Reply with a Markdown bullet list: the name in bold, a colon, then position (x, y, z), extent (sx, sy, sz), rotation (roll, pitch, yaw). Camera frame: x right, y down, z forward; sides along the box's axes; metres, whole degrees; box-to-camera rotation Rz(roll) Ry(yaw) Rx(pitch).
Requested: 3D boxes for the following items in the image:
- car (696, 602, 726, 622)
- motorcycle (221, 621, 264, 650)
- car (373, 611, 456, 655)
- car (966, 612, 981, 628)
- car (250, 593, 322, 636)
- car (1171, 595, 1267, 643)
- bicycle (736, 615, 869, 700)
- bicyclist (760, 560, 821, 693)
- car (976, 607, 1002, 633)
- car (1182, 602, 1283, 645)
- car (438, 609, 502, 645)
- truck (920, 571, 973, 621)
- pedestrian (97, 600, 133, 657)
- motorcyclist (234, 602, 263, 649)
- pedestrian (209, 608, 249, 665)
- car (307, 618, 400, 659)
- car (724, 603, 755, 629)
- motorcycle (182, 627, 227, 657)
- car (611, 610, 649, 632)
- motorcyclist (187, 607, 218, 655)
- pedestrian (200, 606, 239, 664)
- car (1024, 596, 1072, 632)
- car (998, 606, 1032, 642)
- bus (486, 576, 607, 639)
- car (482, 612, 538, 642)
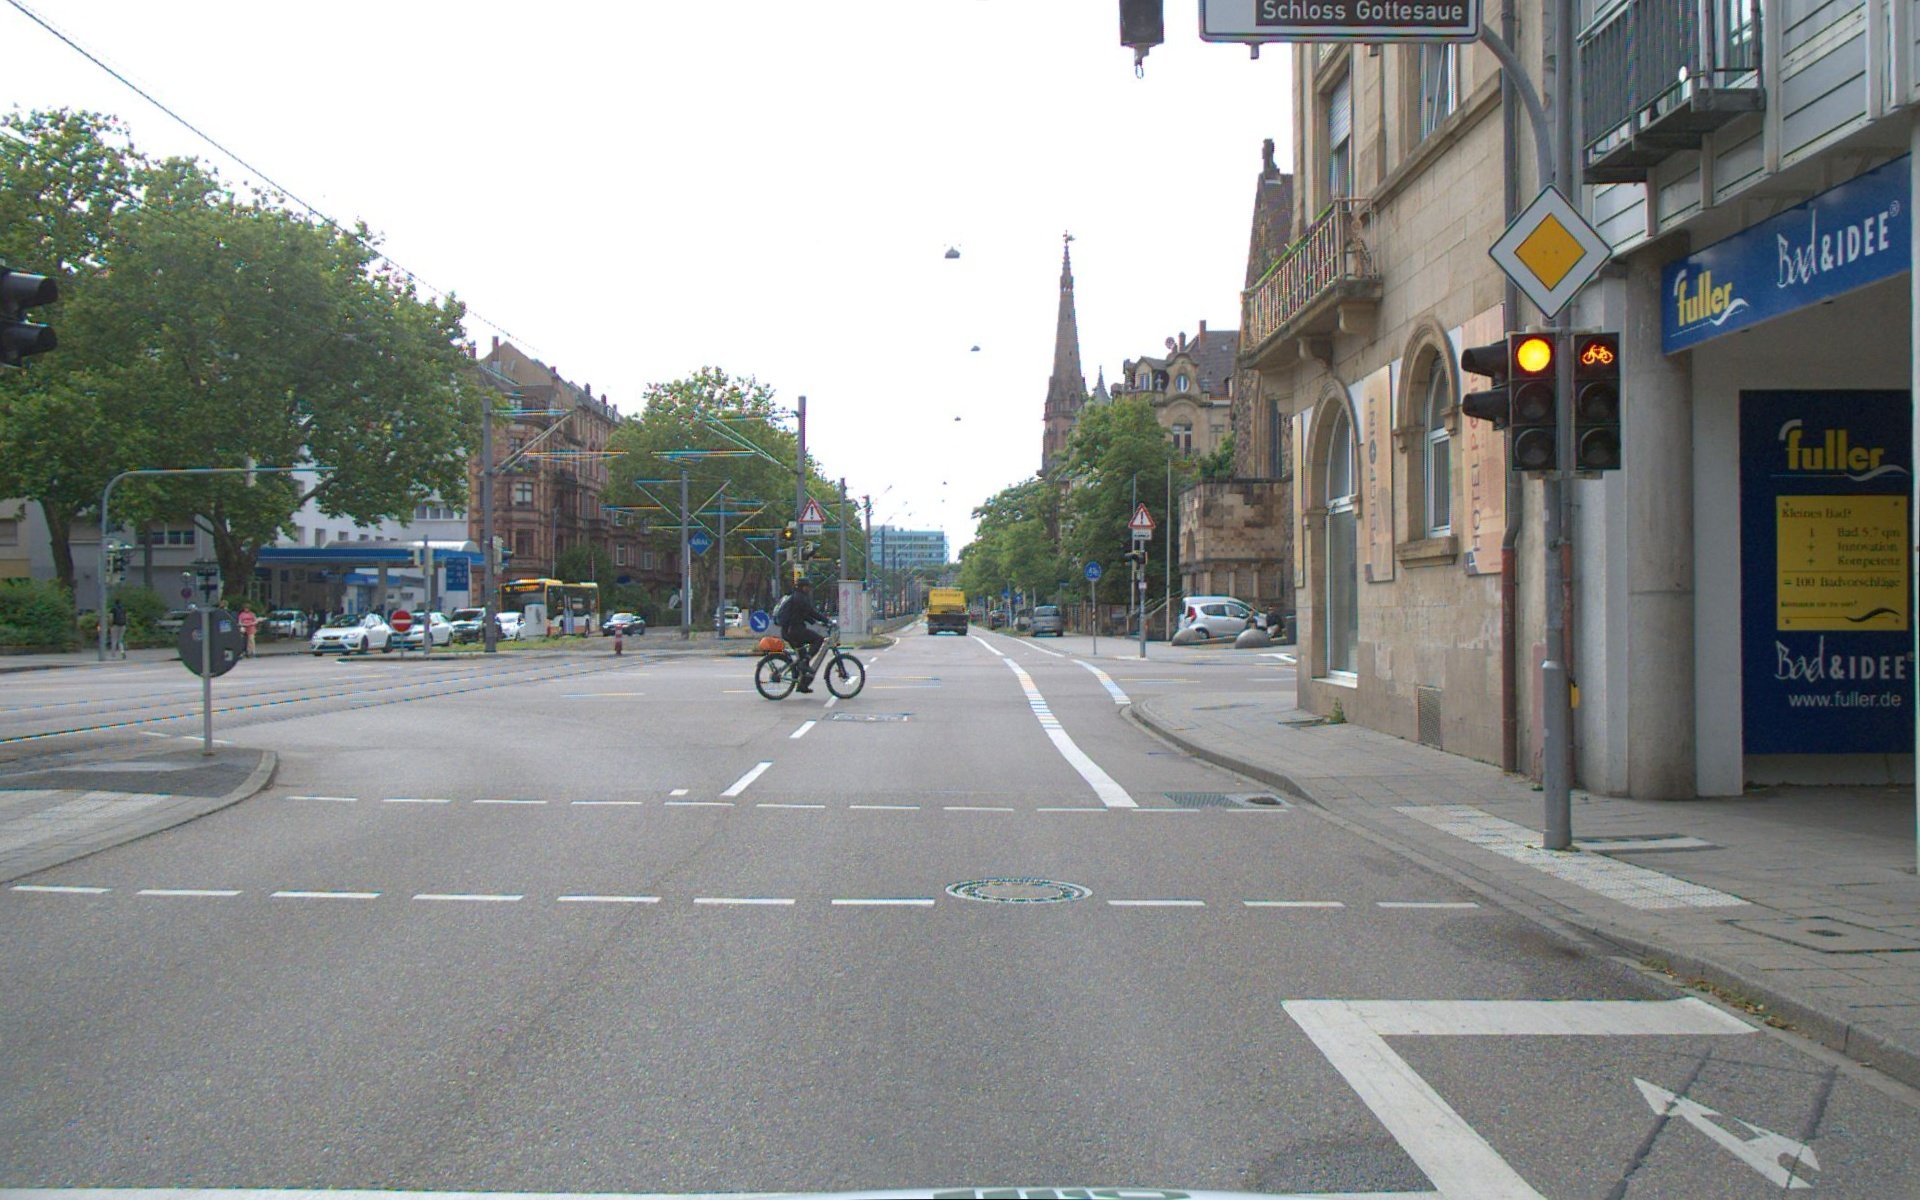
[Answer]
- **car**: position (-21.226, 1.022, 141.168), extent (1.953, 1.639, 3.999), rotation (1, 0, -1)
- **motorcycle**: position (-23.691, 1.166, 54.659), extent (0.594, 0.945, 1.951), rotation (0, 0, 0)
- **car**: position (-21.424, 1.285, 65.115), extent (1.953, 1.622, 3.999), rotation (1, 0, -1)
- **car**: position (1.761, 2.660, 216.811), extent (1.953, 2.049, 3.999), rotation (1, 0, -1)
- **car**: position (-32.830, 0.693, 80.671), extent (1.953, 2.049, 3.999), rotation (0, 0, -1)
- **car**: position (10.690, 0.795, 68.544), extent (3.638, 1.888, 2.000), rotation (1, 0, -1)
- **bicycle**: position (-2.486, 0.897, 26.177), extent (1.970, 1.294, 0.743), rotation (1, -1, -31)
- **bicyclist**: position (-2.673, 0.414, 26.054), extent (0.684, 2.049, 0.775), rotation (1, -1, -29)
- **car**: position (2.374, 1.627, 135.989), extent (1.953, 2.049, 3.999), rotation (1, 0, -1)
- **car**: position (10.674, 0.926, 65.019), extent (3.638, 1.591, 2.000), rotation (1, 0, -1)
- **car**: position (-21.224, 1.137, 71.768), extent (1.622, 1.504, 3.638), rotation (1, 0, 1)
- **truck**: position (-0.834, -0.216, 98.104), extent (2.993, 2.817, 9.813), rotation (0, 0, -1)
- **pedestrian**: position (-26.024, 0.879, 50.933), extent (0.669, 1.720, 0.742), rotation (1, -1, 4)
- **motorcyclist**: position (-23.660, 0.856, 54.994), extent (0.607, 1.546, 0.873), rotation (0, 0, -1)
- **pedestrian**: position (-22.580, 1.134, 51.115), extent (0.854, 1.743, 0.875), rotation (0, 0, -2)
- **car**: position (-21.436, 1.330, 58.616), extent (1.711, 1.344, 4.075), rotation (1, 0, 1)
- **car**: position (-17.773, 1.299, 133.500), extent (1.953, 2.049, 3.999), rotation (1, 0, -1)
- **motorcycle**: position (-24.680, 1.368, 54.064), extent (0.594, 0.945, 1.951), rotation (0, 0, 0)
- **car**: position (-21.016, 1.316, 105.479), extent (1.622, 1.344, 3.638), rotation (1, 0, 1)
- **motorcyclist**: position (-24.678, 0.991, 53.894), extent (0.607, 1.546, 0.873), rotation (0, 0, -1)
- **pedestrian**: position (-22.507, 1.051, 50.302), extent (0.849, 1.743, 0.691), rotation (0, 0, 3)
- **car**: position (4.814, 0.771, 90.035), extent (1.951, 1.888, 4.030), rotation (1, 0, 12)
- **car**: position (3.285, 1.420, 99.605), extent (1.952, 2.049, 4.000), rotation (1, 0, 1)
- **bus**: position (-21.968, 0.416, 88.741), extent (3.164, 3.088, 12.312), rotation (1, 0, 1)
- **car**: position (-21.381, 1.282, 78.686), extent (1.622, 1.344, 3.638), rotation (1, 0, 1)
